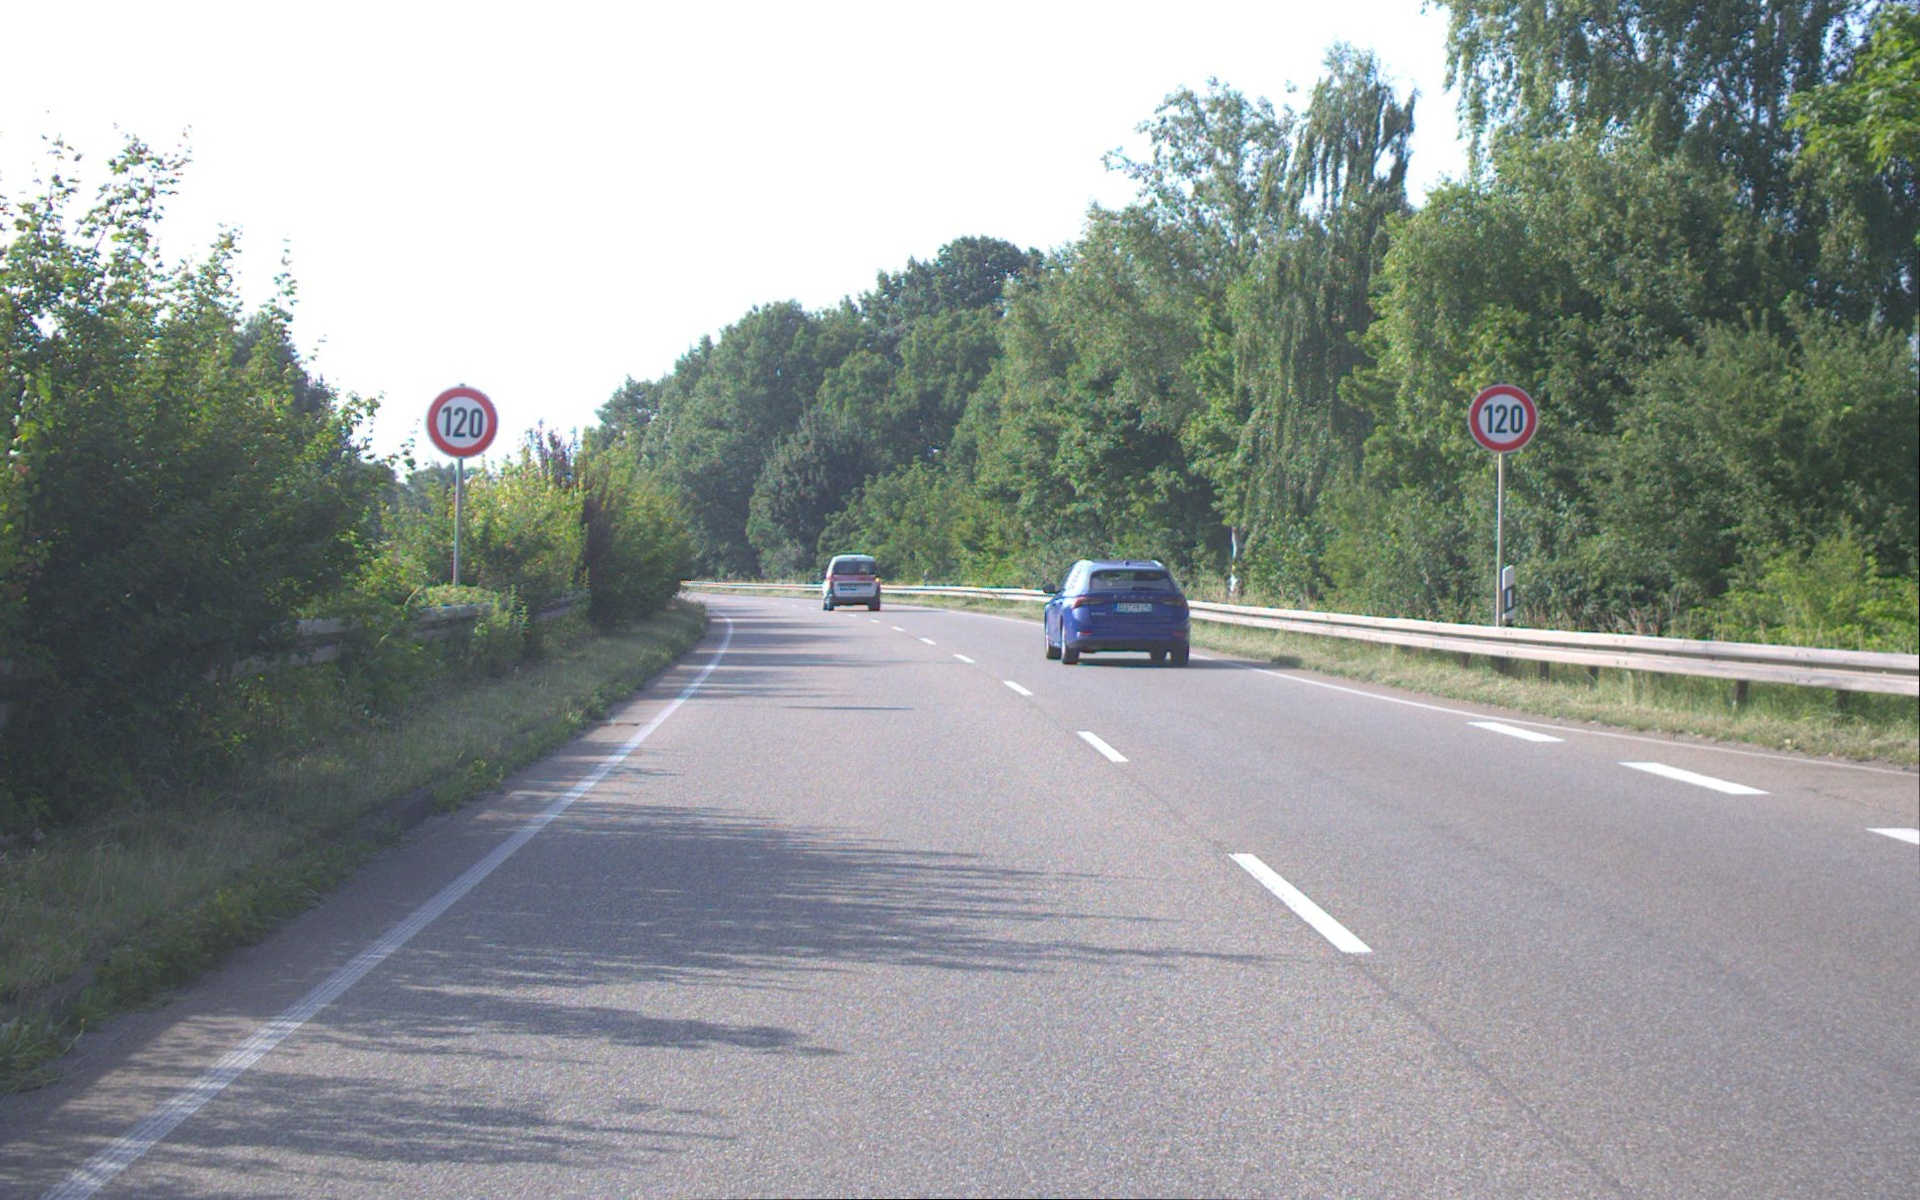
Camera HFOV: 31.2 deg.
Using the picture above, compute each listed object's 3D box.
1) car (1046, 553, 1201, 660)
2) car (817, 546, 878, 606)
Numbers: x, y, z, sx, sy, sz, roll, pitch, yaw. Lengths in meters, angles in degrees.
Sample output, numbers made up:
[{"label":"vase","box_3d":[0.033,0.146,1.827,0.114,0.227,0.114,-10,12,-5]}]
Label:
[{"label":"car","box_3d":[2.259,0.072,48.440,1.779,1.446,4.000,0,0,-3]},{"label":"car","box_3d":[-3.673,-0.799,111.498,1.765,1.875,4.001,0,1,-5]}]
